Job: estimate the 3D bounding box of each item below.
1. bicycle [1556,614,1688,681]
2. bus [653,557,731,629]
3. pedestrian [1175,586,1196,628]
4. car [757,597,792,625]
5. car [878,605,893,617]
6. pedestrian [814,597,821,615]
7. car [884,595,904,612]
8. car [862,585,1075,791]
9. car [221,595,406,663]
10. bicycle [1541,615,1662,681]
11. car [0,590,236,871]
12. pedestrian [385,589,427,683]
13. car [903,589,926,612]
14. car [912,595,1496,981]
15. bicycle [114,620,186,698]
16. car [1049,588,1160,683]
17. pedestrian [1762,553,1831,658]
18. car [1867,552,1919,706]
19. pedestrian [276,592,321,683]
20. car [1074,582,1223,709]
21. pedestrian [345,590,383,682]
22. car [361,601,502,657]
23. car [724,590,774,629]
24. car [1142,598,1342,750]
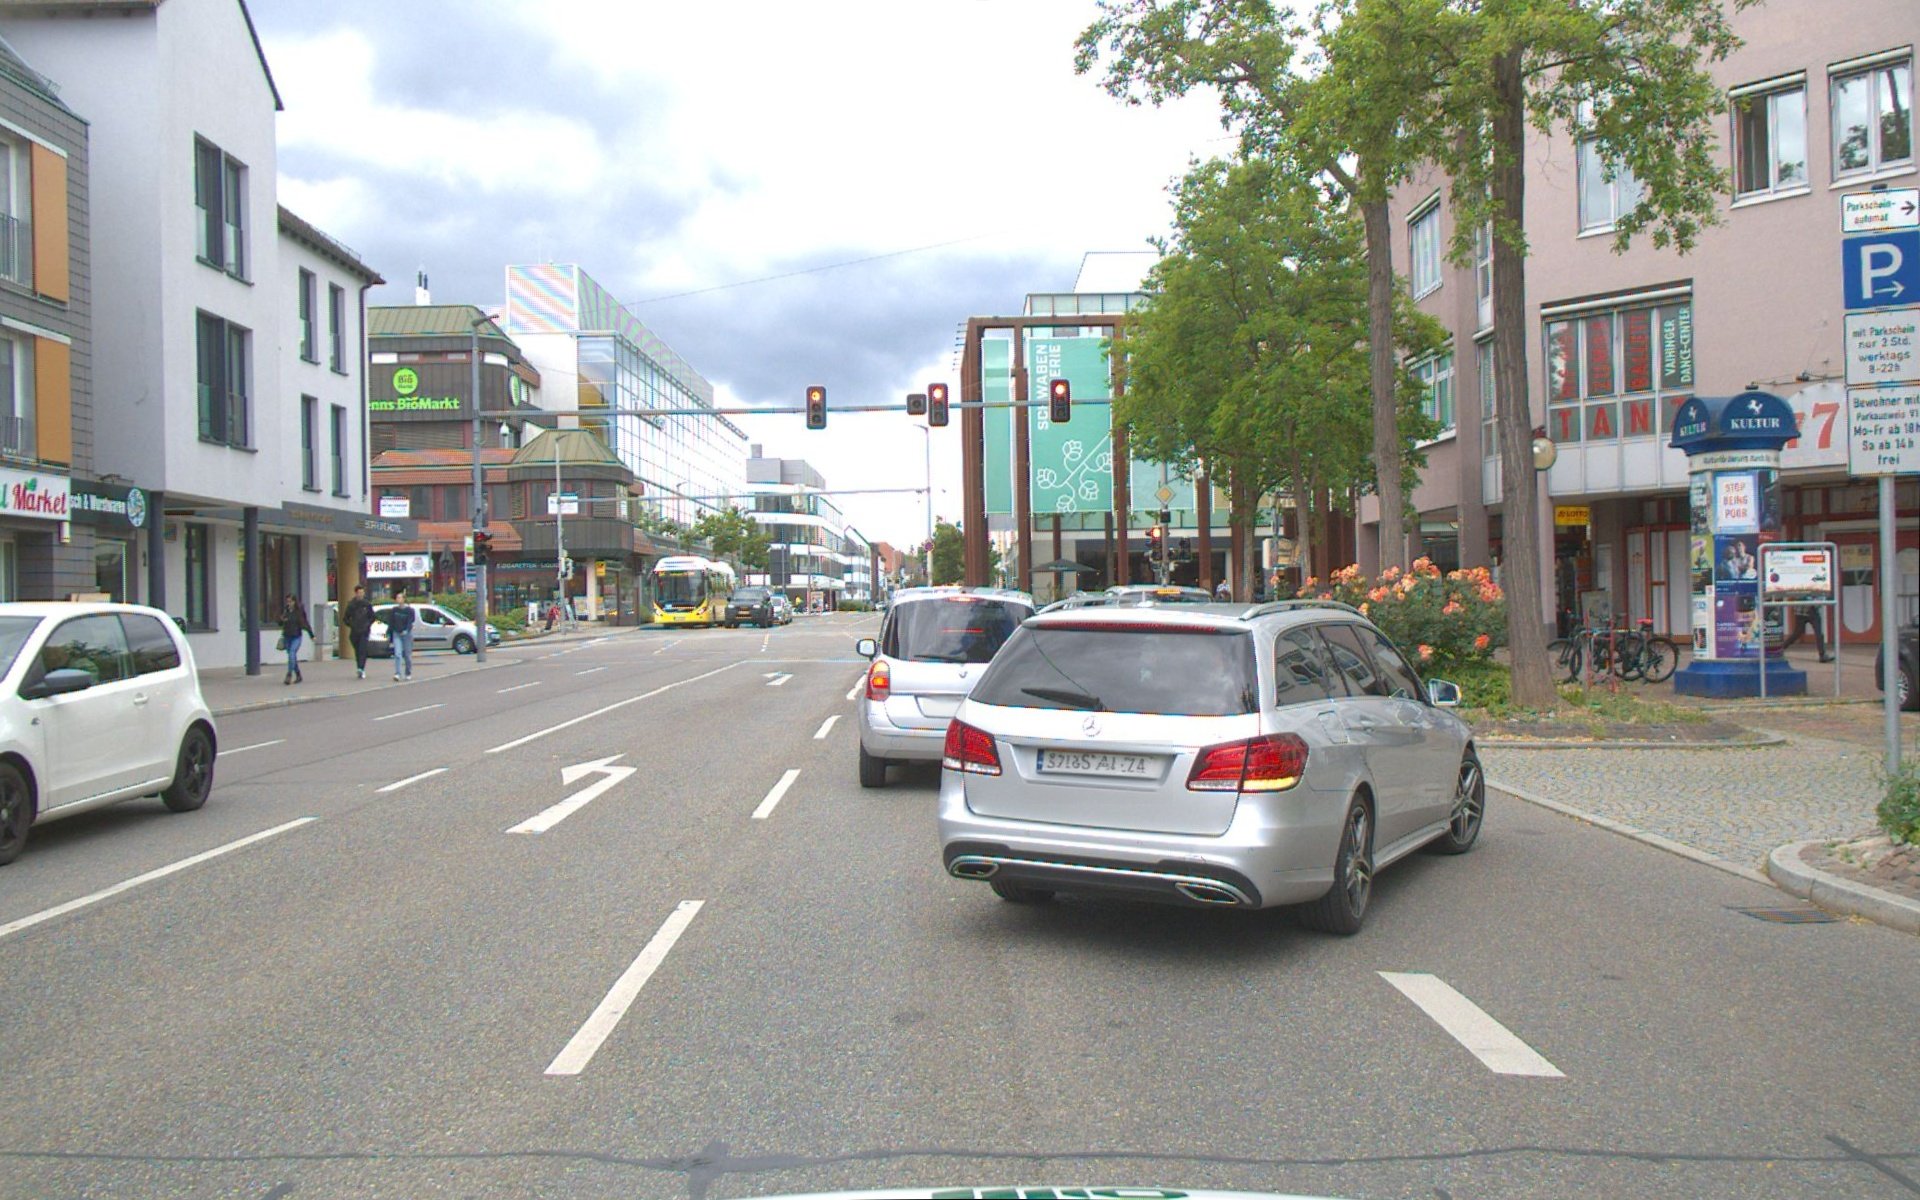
[{"bbox_3d":[10.363,0.741,25.918,1.861,1.014,0.468,-1,0,3],"label":"bicycle"},{"bbox_3d":[-12.991,-0.348,80.833,2.632,3.318,8.650,-1,0,-2],"label":"bus"},{"bbox_3d":[9.078,0.284,66.508,0.641,1.679,0.557,-1,0,-15],"label":"pedestrian"},{"bbox_3d":[-9.597,0.563,85.819,1.524,1.417,3.286,-1,0,-2],"label":"car"},{"bbox_3d":[-10.143,1.553,226.137,1.764,1.567,4.065,-1,0,1],"label":"car"},{"bbox_3d":[-14.149,0.556,163.812,0.516,1.764,0.482,-1,0,-41],"label":"pedestrian"},{"bbox_3d":[-6.503,0.350,163.381,1.764,1.567,4.065,-1,0,1],"label":"car"},{"bbox_3d":[0.042,0.658,14.178,1.606,1.554,3.393,0,0,-1],"label":"car"},{"bbox_3d":[-20.537,0.900,52.719,5.043,1.921,1.997,-2,0,-6],"label":"car"},{"bbox_3d":[10.259,0.758,26.471,1.731,1.014,0.447,-1,0,3],"label":"bicycle"},{"bbox_3d":[-6.008,0.726,10.251,1.542,1.514,3.463,-2,0,-1],"label":"car"},{"bbox_3d":[-10.917,0.697,32.592,0.669,1.821,0.647,-1,0,-11],"label":"pedestrian"},{"bbox_3d":[-4.115,0.040,148.976,1.953,1.983,4.949,-1,0,-2],"label":"car"},{"bbox_3d":[1.570,0.750,8.794,1.780,1.474,4.364,1,0,27],"label":"car"},{"bbox_3d":[-13.392,0.960,27.373,0.378,1.207,1.824,-1,0,-4],"label":"bicycle"},{"bbox_3d":[2.612,0.606,30.678,1.555,1.623,3.866,1,0,-2],"label":"car"},{"bbox_3d":[14.743,0.092,29.176,0.773,1.824,0.819,-1,0,-1],"label":"pedestrian"},{"bbox_3d":[12.476,0.336,19.054,1.605,1.863,3.963,-2,0,-5],"label":"car"},{"bbox_3d":[-12.358,0.693,30.910,0.639,1.679,0.558,-1,0,-8],"label":"pedestrian"},{"bbox_3d":[2.645,0.604,24.009,1.555,1.662,3.915,1,0,-2],"label":"car"},{"bbox_3d":[-11.889,0.701,33.015,0.558,1.806,0.646,-1,0,-7],"label":"pedestrian"},{"bbox_3d":[-17.782,0.968,55.780,4.296,1.804,1.327,-1,0,-1],"label":"car"},{"bbox_3d":[-9.948,0.432,78.172,1.953,1.736,4.063,-1,0,-2],"label":"car"},{"bbox_3d":[2.963,0.724,17.984,1.554,1.468,3.348,1,0,-1],"label":"car"}]
